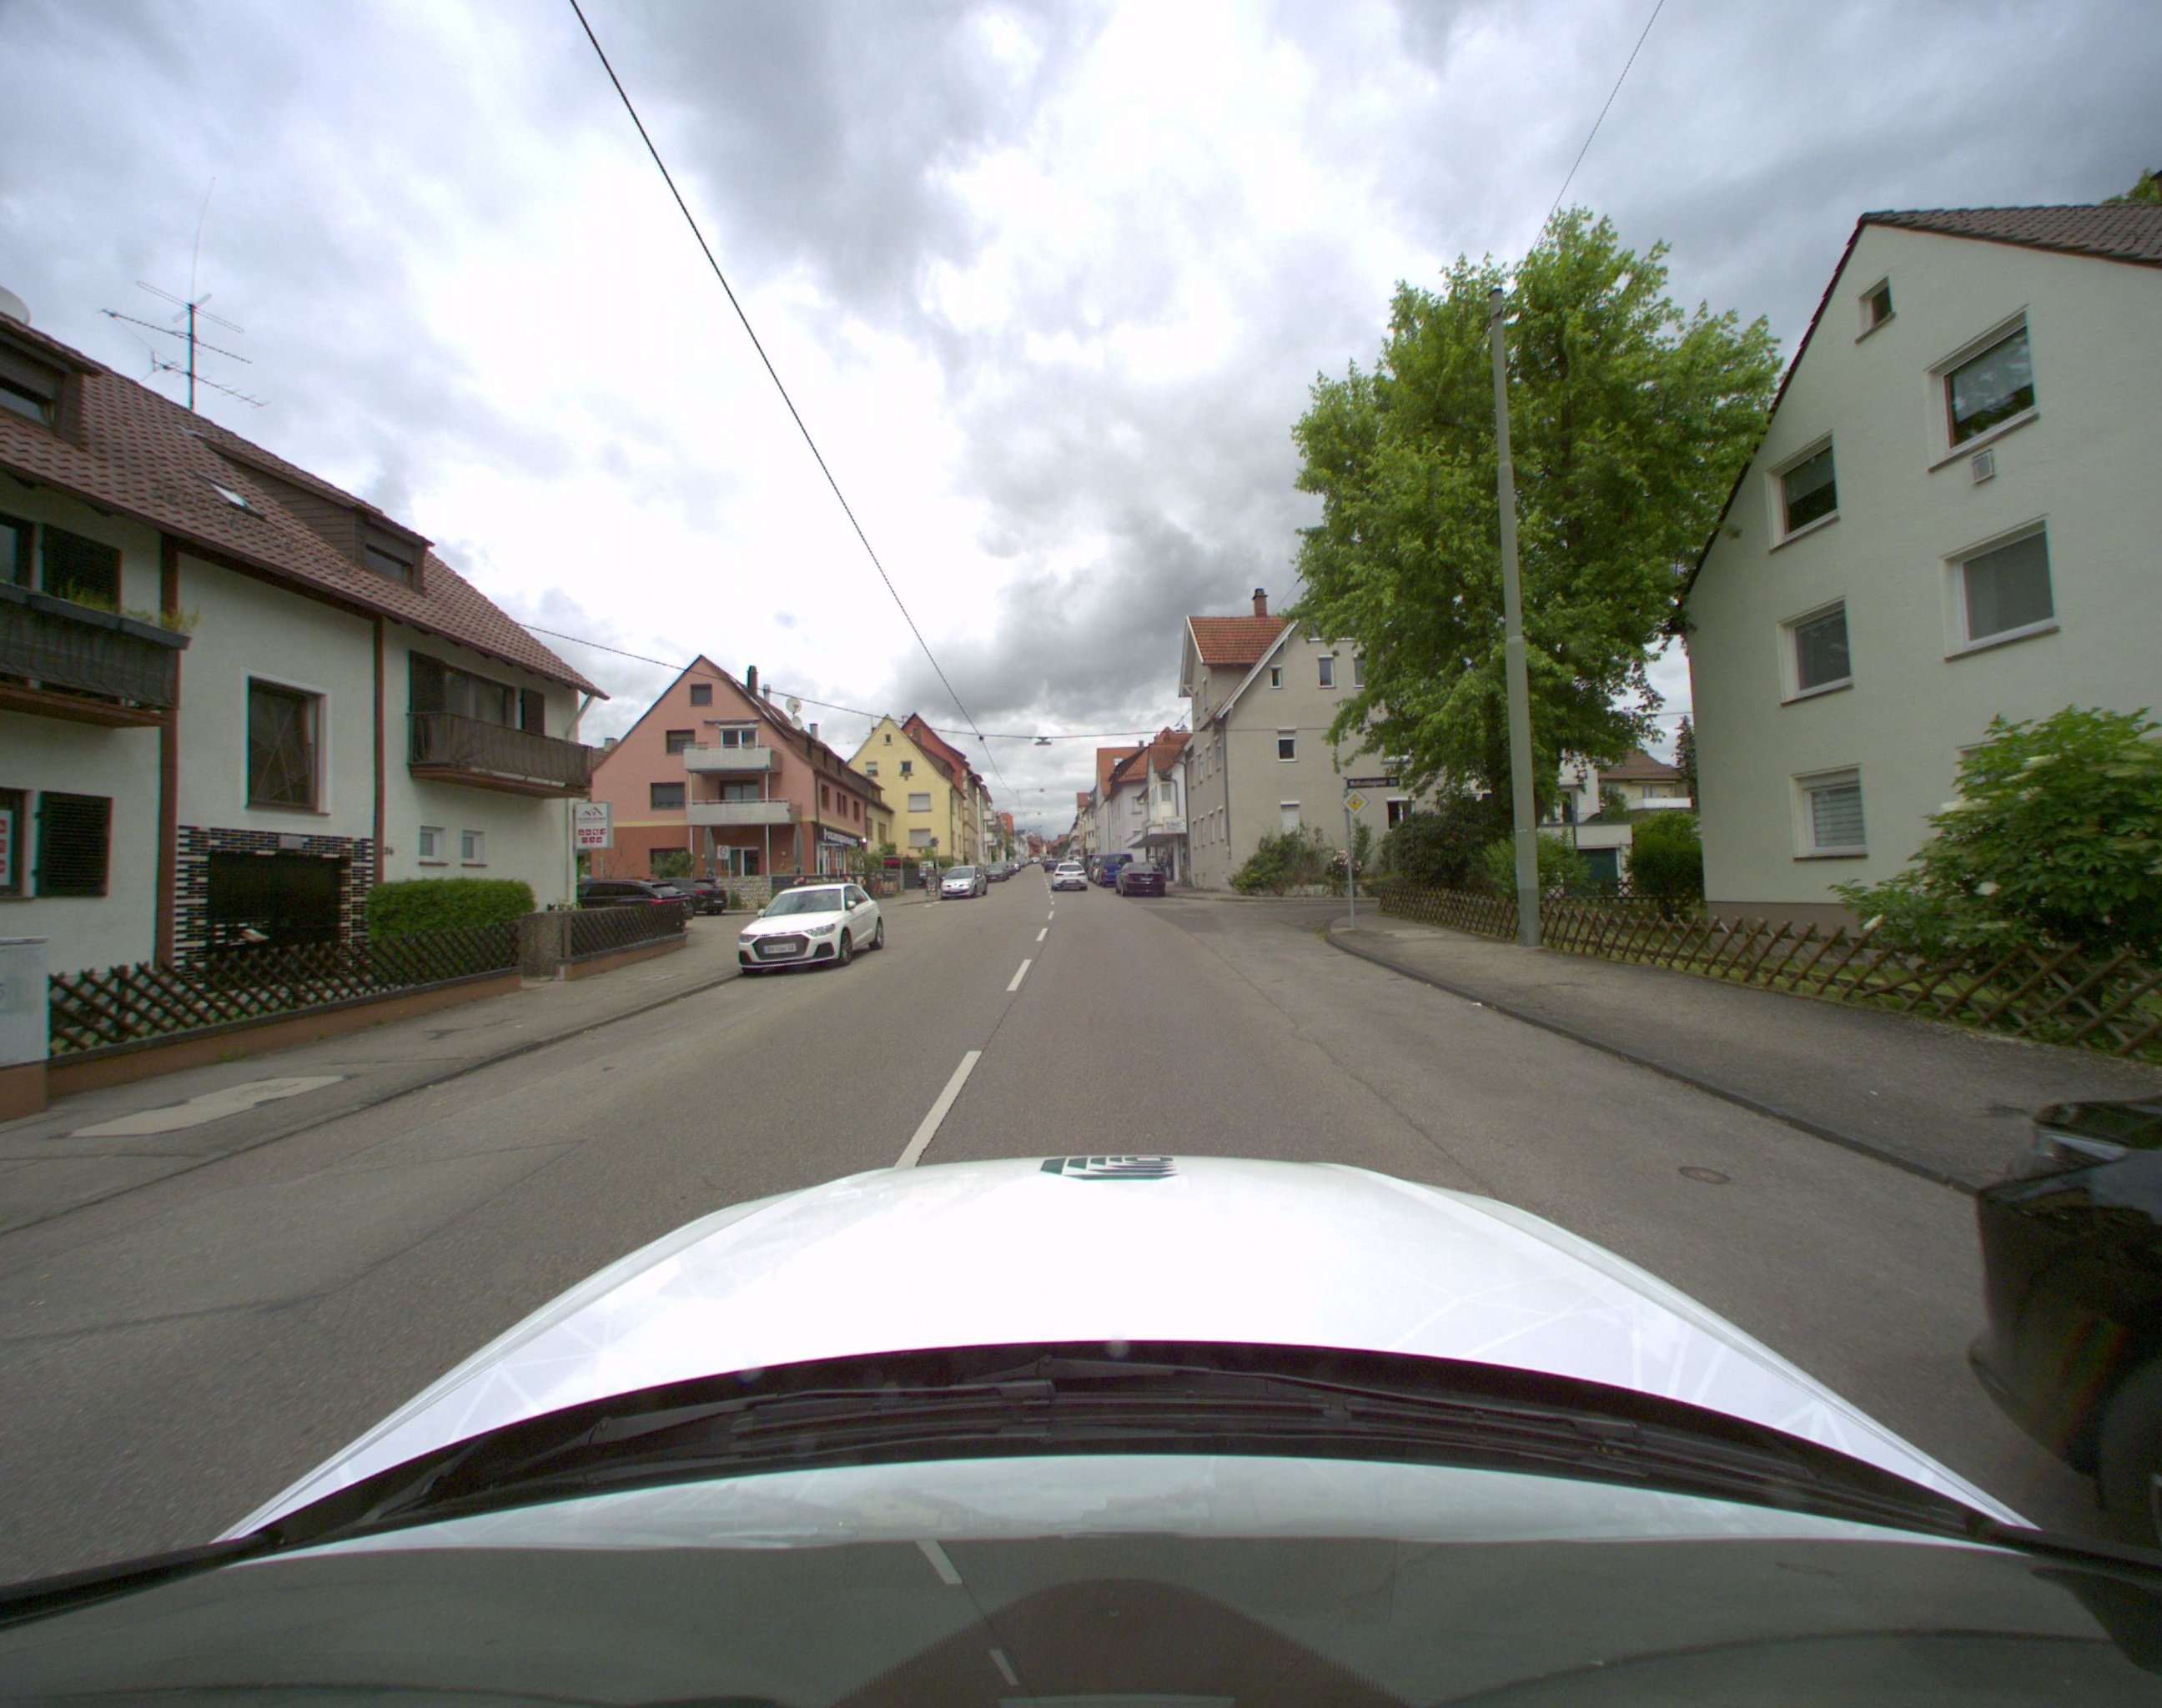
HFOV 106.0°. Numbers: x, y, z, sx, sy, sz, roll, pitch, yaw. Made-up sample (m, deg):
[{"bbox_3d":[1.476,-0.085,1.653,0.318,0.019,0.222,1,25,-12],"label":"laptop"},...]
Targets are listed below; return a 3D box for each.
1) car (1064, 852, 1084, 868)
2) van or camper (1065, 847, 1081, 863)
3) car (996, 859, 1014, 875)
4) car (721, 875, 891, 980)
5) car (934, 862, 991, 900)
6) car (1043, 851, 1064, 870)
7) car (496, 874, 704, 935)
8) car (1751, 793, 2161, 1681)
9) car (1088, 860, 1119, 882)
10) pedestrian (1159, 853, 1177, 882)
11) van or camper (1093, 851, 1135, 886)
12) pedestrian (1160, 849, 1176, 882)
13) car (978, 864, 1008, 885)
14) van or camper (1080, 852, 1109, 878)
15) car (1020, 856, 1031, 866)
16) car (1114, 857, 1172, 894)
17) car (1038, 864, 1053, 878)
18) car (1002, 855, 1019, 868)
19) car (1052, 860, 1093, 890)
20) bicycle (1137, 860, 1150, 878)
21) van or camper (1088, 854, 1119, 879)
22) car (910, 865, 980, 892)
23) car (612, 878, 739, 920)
[{"bbox_3d":[-0.794,0.612,89.619,1.937,1.693,3.994,1,0,-4],"label":"car"},{"bbox_3d":[-1.125,0.149,111.945,1.937,2.055,4.555,-1,0,-5],"label":"van or camper"},{"bbox_3d":[-8.305,1.402,88.823,1.638,1.473,4.174,-5,0,-3],"label":"car"},{"bbox_3d":[-4.864,1.224,15.008,1.721,1.458,3.897,-6,-1,-1],"label":"car"},{"bbox_3d":[-5.783,1.298,40.273,1.826,1.578,4.036,-5,0,4],"label":"car"},{"bbox_3d":[-3.053,0.670,89.665,2.148,2.014,3.994,-1,-1,-4],"label":"car"},{"bbox_3d":[-13.104,1.350,22.377,4.501,1.472,2.001,-1,0,1],"label":"car"},{"bbox_3d":[2.827,0.672,0.114,1.804,1.615,4.540,0,-1,1],"label":"car"},{"bbox_3d":[1.476,1.100,54.618,1.710,1.436,4.633,0,0,-4],"label":"car"},{"bbox_3d":[5.234,0.813,48.888,0.862,1.725,0.623,-2,-1,32],"label":"pedestrian"},{"bbox_3d":[1.901,0.822,48.137,1.922,1.925,4.824,-1,0,-4],"label":"van or camper"},{"bbox_3d":[5.441,0.711,50.878,0.752,2.014,0.623,-2,-1,32],"label":"pedestrian"},{"bbox_3d":[-7.196,1.632,66.792,1.988,1.472,4.240,-5,0,-2],"label":"car"},{"bbox_3d":[1.049,0.896,67.764,1.989,2.066,5.938,0,0,-3],"label":"van or camper"},{"bbox_3d":[-10.326,1.315,152.273,1.989,1.651,4.174,-2,0,-3],"label":"car"},{"bbox_3d":[2.719,0.934,36.893,1.989,1.518,4.885,0,-1,-3],"label":"car"},{"bbox_3d":[-5.402,2.609,124.268,2.148,2.014,3.994,-1,-1,-4],"label":"car"},{"bbox_3d":[-9.426,0.957,108.763,1.989,1.651,3.996,-2,0,-3],"label":"car"},{"bbox_3d":[-0.508,1.051,42.549,1.936,1.439,3.995,-1,0,-3],"label":"car"},{"bbox_3d":[4.114,0.993,53.334,0.247,1.113,1.476,-3,0,27],"label":"bicycle"},{"bbox_3d":[1.609,0.901,60.126,1.867,1.829,4.674,0,0,-4],"label":"van or camper"},{"bbox_3d":[-8.862,1.604,53.296,4.219,1.473,1.998,-3,-4,-3],"label":"car"},{"bbox_3d":[-16.346,1.808,32.859,4.369,1.472,2.009,-3,-3,18],"label":"car"}]
